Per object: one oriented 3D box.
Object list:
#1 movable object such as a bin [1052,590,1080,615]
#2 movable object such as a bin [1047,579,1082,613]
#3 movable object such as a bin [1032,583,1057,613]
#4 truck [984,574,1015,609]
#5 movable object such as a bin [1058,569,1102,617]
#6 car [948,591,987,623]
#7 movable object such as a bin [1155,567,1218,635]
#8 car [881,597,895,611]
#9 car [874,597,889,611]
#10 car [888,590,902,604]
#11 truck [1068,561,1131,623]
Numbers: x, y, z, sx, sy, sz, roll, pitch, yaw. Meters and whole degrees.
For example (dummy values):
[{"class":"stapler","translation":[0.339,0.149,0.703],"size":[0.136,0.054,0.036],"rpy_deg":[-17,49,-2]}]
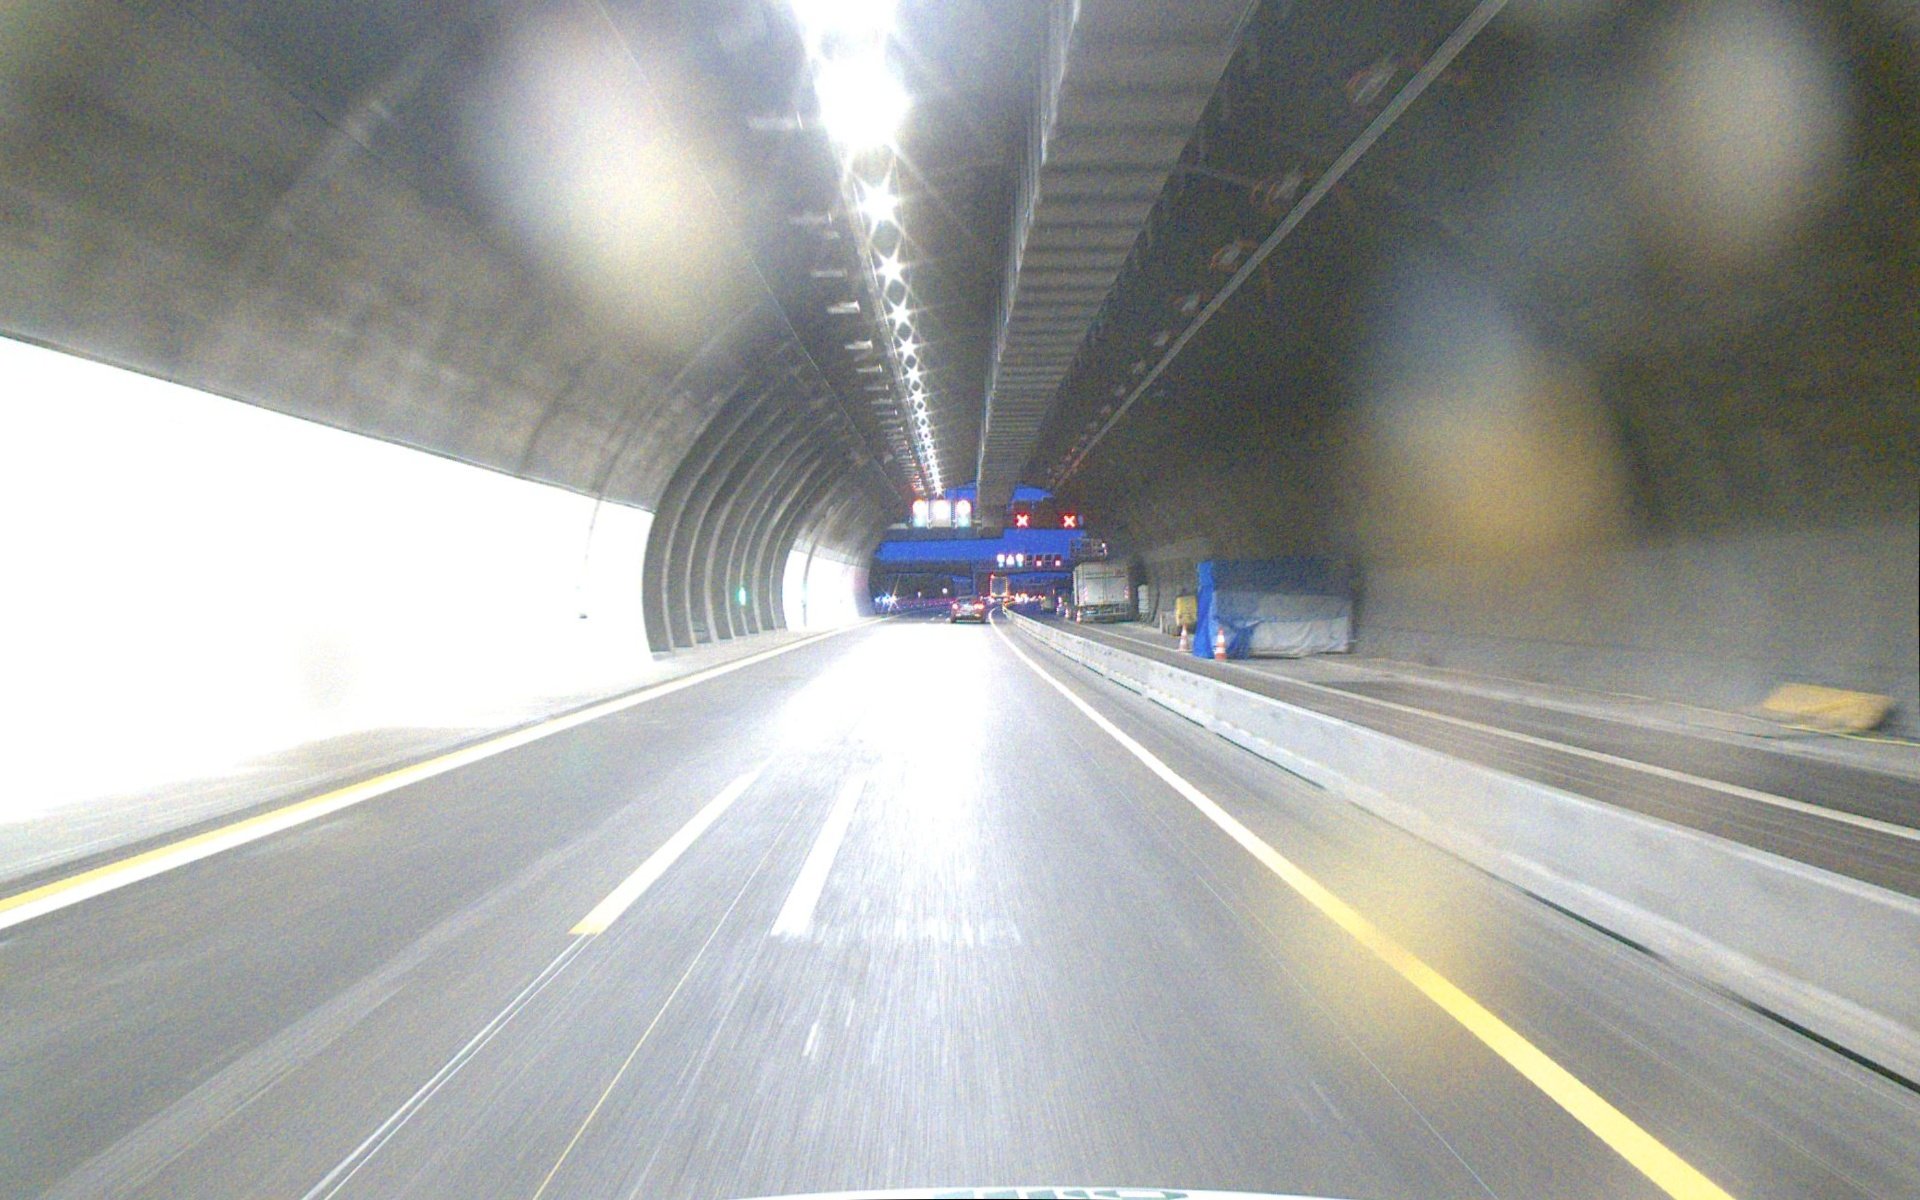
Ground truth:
[{"class":"movable object such as a bin","translation":[8.042,0.210,125.778],"size":[1.938,1.847,3.836],"rpy_deg":[0,0,0]},{"class":"movable object such as a bin","translation":[8.713,-0.327,138.480],"size":[2.680,2.802,7.050],"rpy_deg":[0,0,1]},{"class":"movable object such as a bin","translation":[10.052,-0.249,197.032],"size":[2.680,3.516,6.947],"rpy_deg":[0,0,1]},{"class":"truck","translation":[5.926,-1.285,246.562],"size":[4.452,5.074,9.600],"rpy_deg":[0,0,1]},{"class":"movable object such as a bin","translation":[7.346,-0.393,101.849],"size":[2.192,2.843,7.232],"rpy_deg":[0,0,0]},{"class":"car","translation":[0.376,0.366,87.683],"size":[1.850,1.635,3.998],"rpy_deg":[0,0,-3]},{"class":"movable object such as a bin","translation":[8.653,0.046,63.485],"size":[1.721,2.421,3.999],"rpy_deg":[-3,0,-1]},{"class":"car","translation":[-10.584,0.582,243.272],"size":[1.953,2.049,4.000],"rpy_deg":[0,0,0]},{"class":"car","translation":[-11.040,0.557,233.177],"size":[1.953,2.049,4.000],"rpy_deg":[0,0,0]},{"class":"car","translation":[-9.812,-0.404,250.207],"size":[1.953,2.049,4.000],"rpy_deg":[0,0,0]},{"class":"truck","translation":[7.743,-0.416,92.603],"size":[2.833,3.329,8.400],"rpy_deg":[0,0,0]}]
